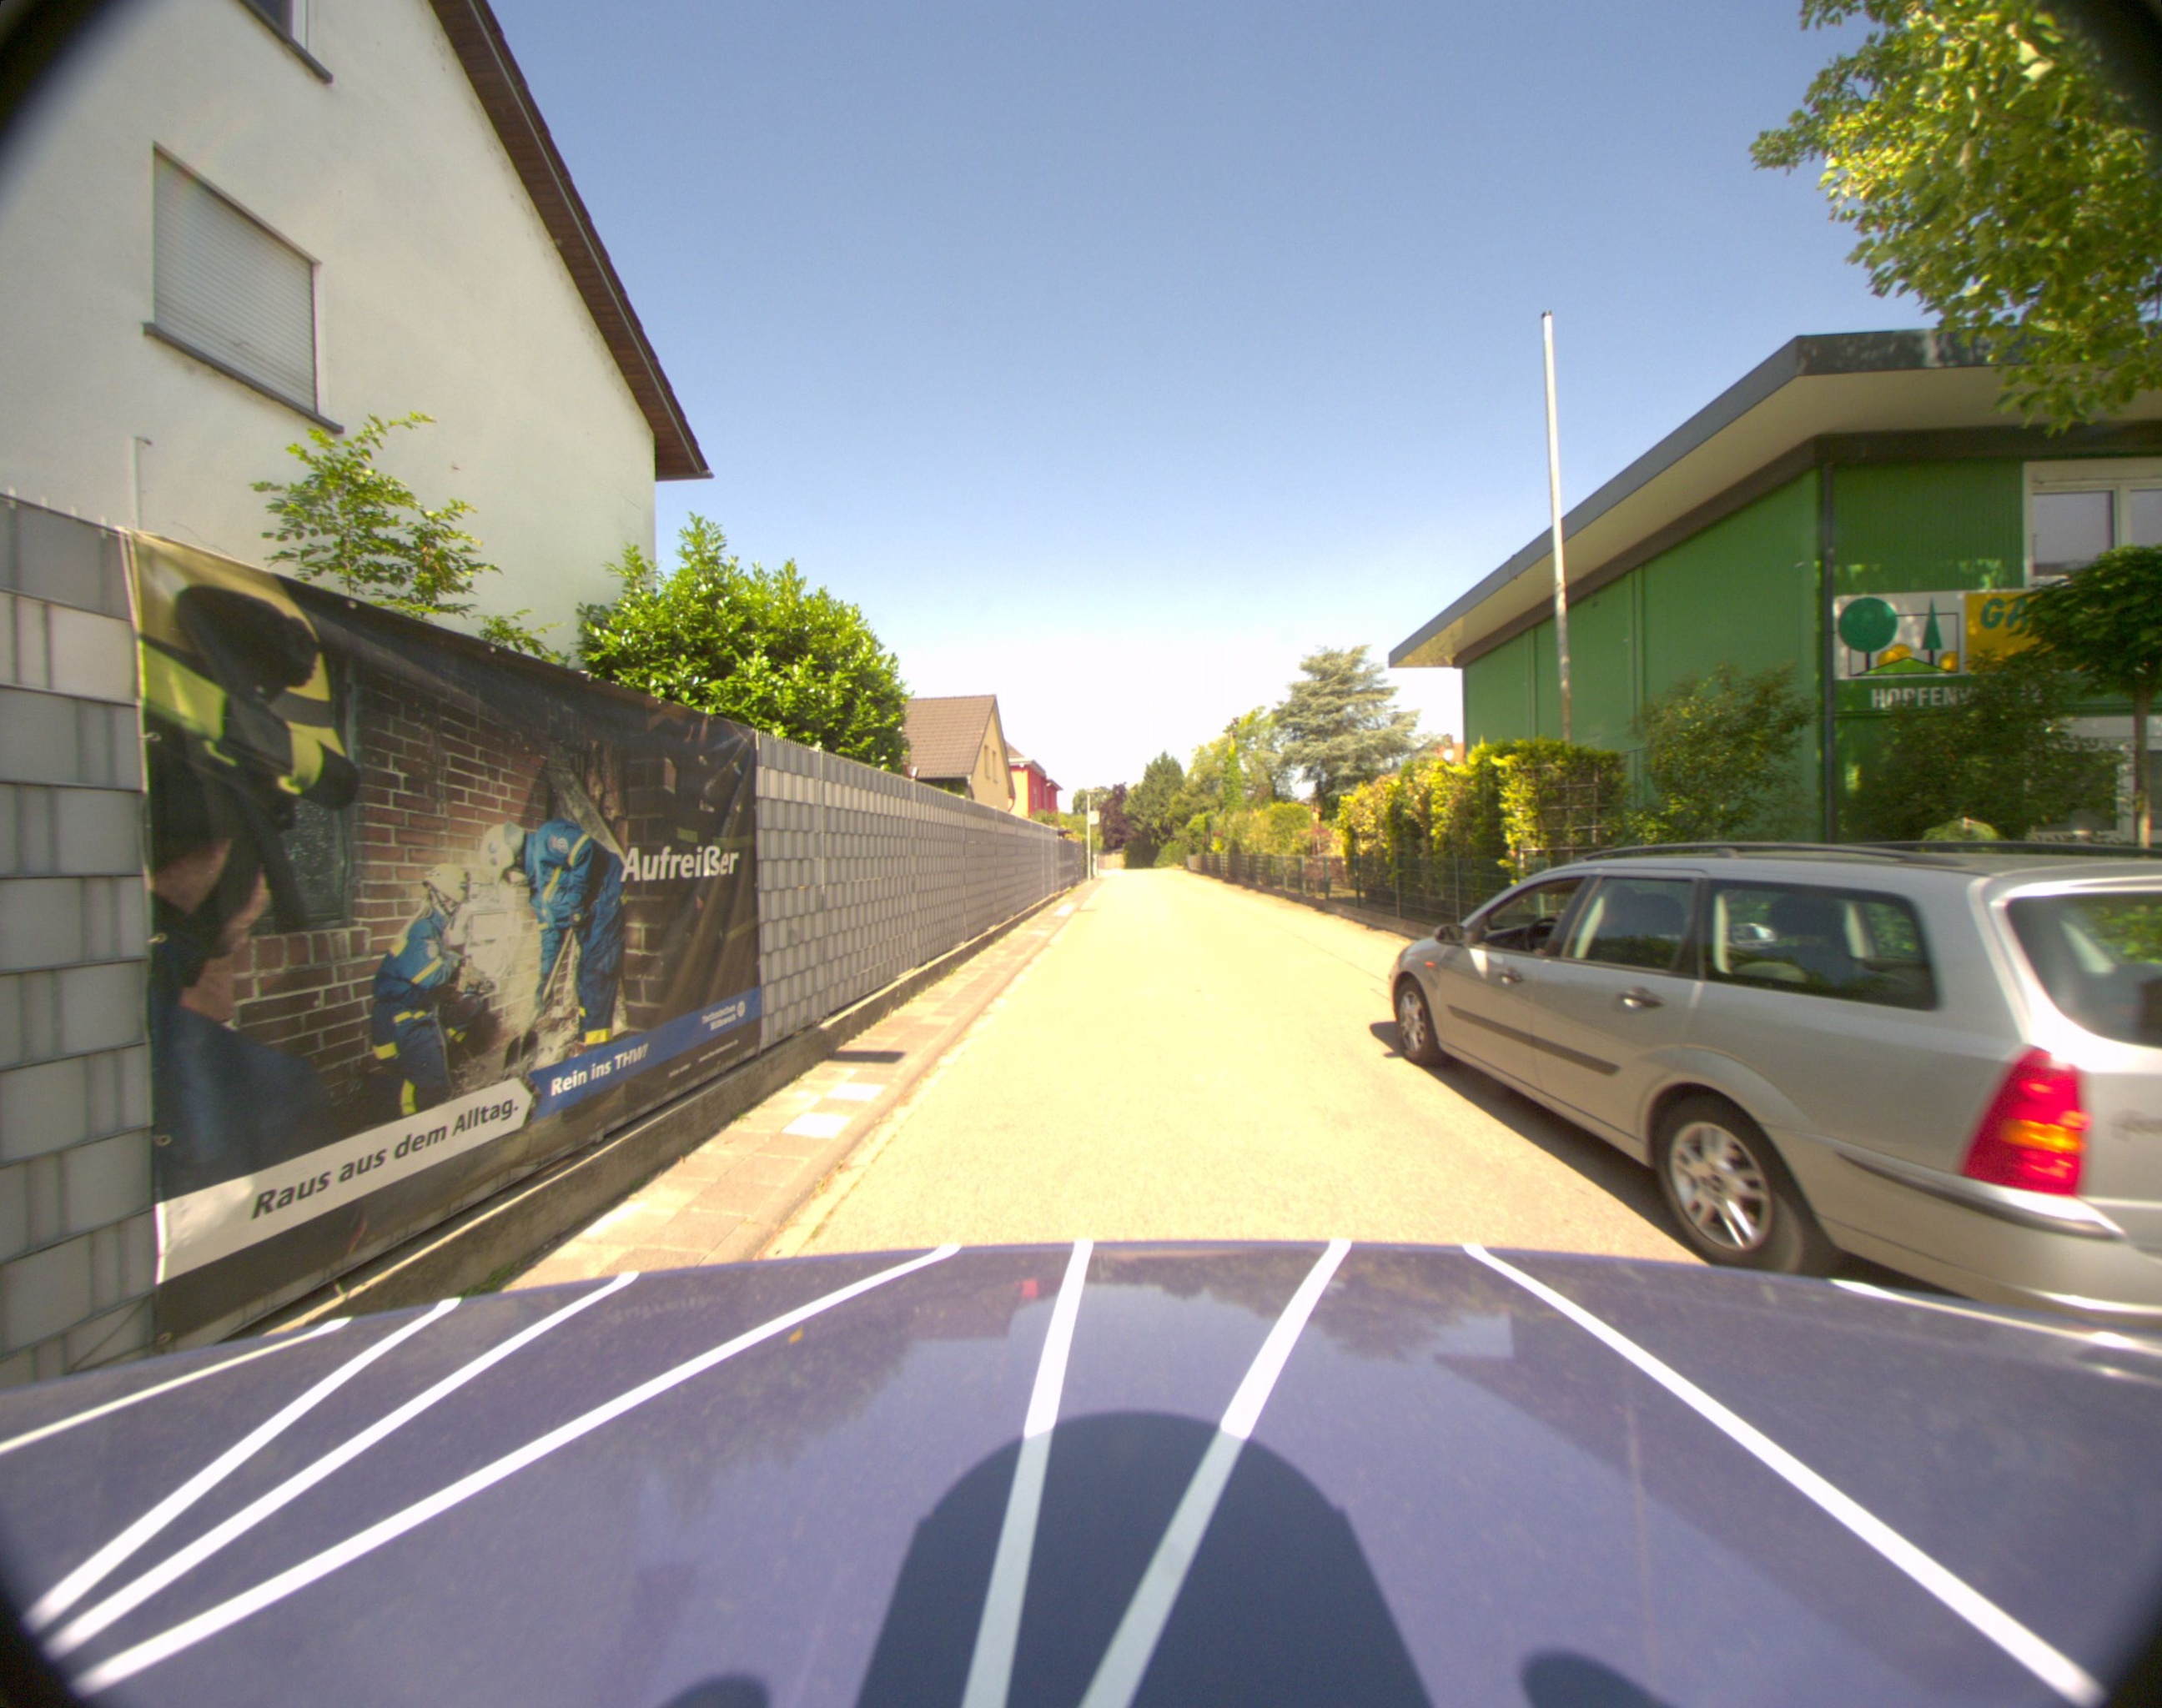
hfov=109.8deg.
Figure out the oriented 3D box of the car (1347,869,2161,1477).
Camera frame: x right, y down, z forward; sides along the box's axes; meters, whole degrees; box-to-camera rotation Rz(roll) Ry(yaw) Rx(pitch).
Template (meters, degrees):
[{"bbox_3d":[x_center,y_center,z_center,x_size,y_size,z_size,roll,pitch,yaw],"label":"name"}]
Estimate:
[{"bbox_3d":[3.081,0.884,4.153,1.757,1.478,4.375,1,0,1],"label":"car"}]
